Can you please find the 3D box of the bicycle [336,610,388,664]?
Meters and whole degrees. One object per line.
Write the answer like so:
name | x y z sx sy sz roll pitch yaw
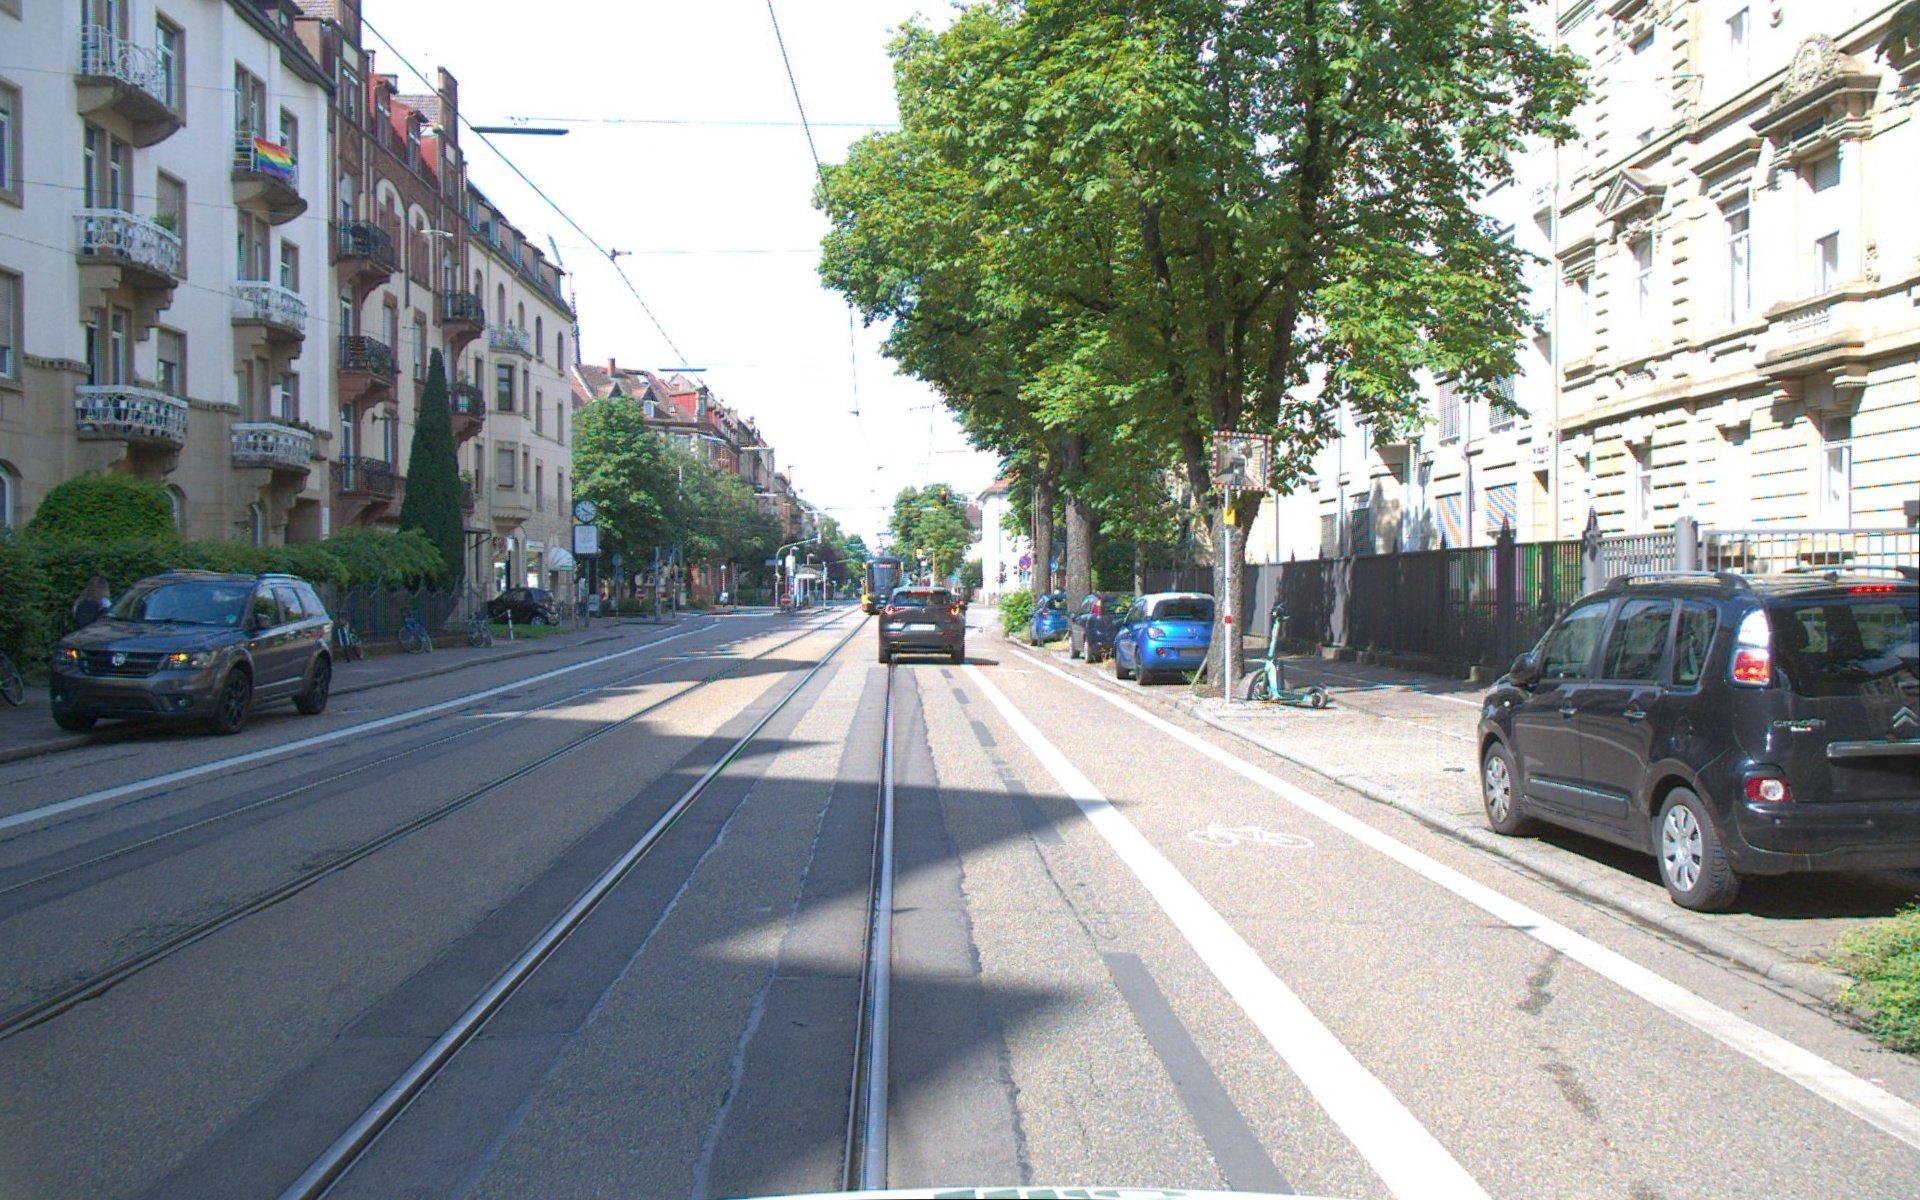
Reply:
bicycle | -11.807 0.713 32.694 0.375 0.992 1.801 1 0 -1

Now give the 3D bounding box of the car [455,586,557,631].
car | -16.380 0.311 59.736 3.170 1.539 1.679 1 0 1

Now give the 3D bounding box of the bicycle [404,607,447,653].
bicycle | -11.974 0.657 37.089 0.417 0.976 1.705 1 0 -1

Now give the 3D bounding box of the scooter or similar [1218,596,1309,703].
scooter or similar | 3.938 0.630 21.519 0.437 1.322 1.169 -4 2 -33

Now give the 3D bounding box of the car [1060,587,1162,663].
car | 3.260 0.505 36.341 1.607 1.522 3.754 -2 0 -4

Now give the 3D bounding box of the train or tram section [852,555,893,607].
train or tram section | -6.385 -1.318 120.231 2.600 3.589 8.487 -1 0 -5

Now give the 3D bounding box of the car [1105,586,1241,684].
car | 3.584 0.552 28.426 1.607 1.522 3.624 -2 0 -4

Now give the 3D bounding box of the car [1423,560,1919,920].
car | 4.279 0.629 9.730 1.663 1.618 4.200 -2 0 -4

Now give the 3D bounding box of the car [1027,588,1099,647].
car | 2.853 0.461 46.544 1.591 1.522 3.846 -2 0 -2

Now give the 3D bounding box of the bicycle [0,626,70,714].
bicycle | -11.320 0.826 19.726 0.375 0.976 1.921 1 0 -1

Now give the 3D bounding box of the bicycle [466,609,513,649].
bicycle | -12.117 0.750 42.649 0.500 0.976 1.816 2 -1 4

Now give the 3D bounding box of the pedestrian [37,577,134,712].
pedestrian | -10.629 0.529 20.132 0.666 1.596 0.882 1 0 0

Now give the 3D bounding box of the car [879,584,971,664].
car | -0.787 0.461 34.816 1.754 1.538 4.348 1 1 -3

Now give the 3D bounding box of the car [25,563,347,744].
car | -8.700 0.516 19.113 1.750 1.793 4.878 -1 0 -5

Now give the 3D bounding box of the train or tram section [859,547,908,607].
train or tram section | -4.825 -1.374 103.270 2.600 3.589 8.487 -1 0 -5

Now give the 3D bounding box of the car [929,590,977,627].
car | -0.332 0.349 73.051 1.750 1.518 4.878 -1 0 -5

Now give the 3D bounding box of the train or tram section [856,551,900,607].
train or tram section | -5.606 -1.352 111.757 2.600 3.589 8.487 -1 0 -5
